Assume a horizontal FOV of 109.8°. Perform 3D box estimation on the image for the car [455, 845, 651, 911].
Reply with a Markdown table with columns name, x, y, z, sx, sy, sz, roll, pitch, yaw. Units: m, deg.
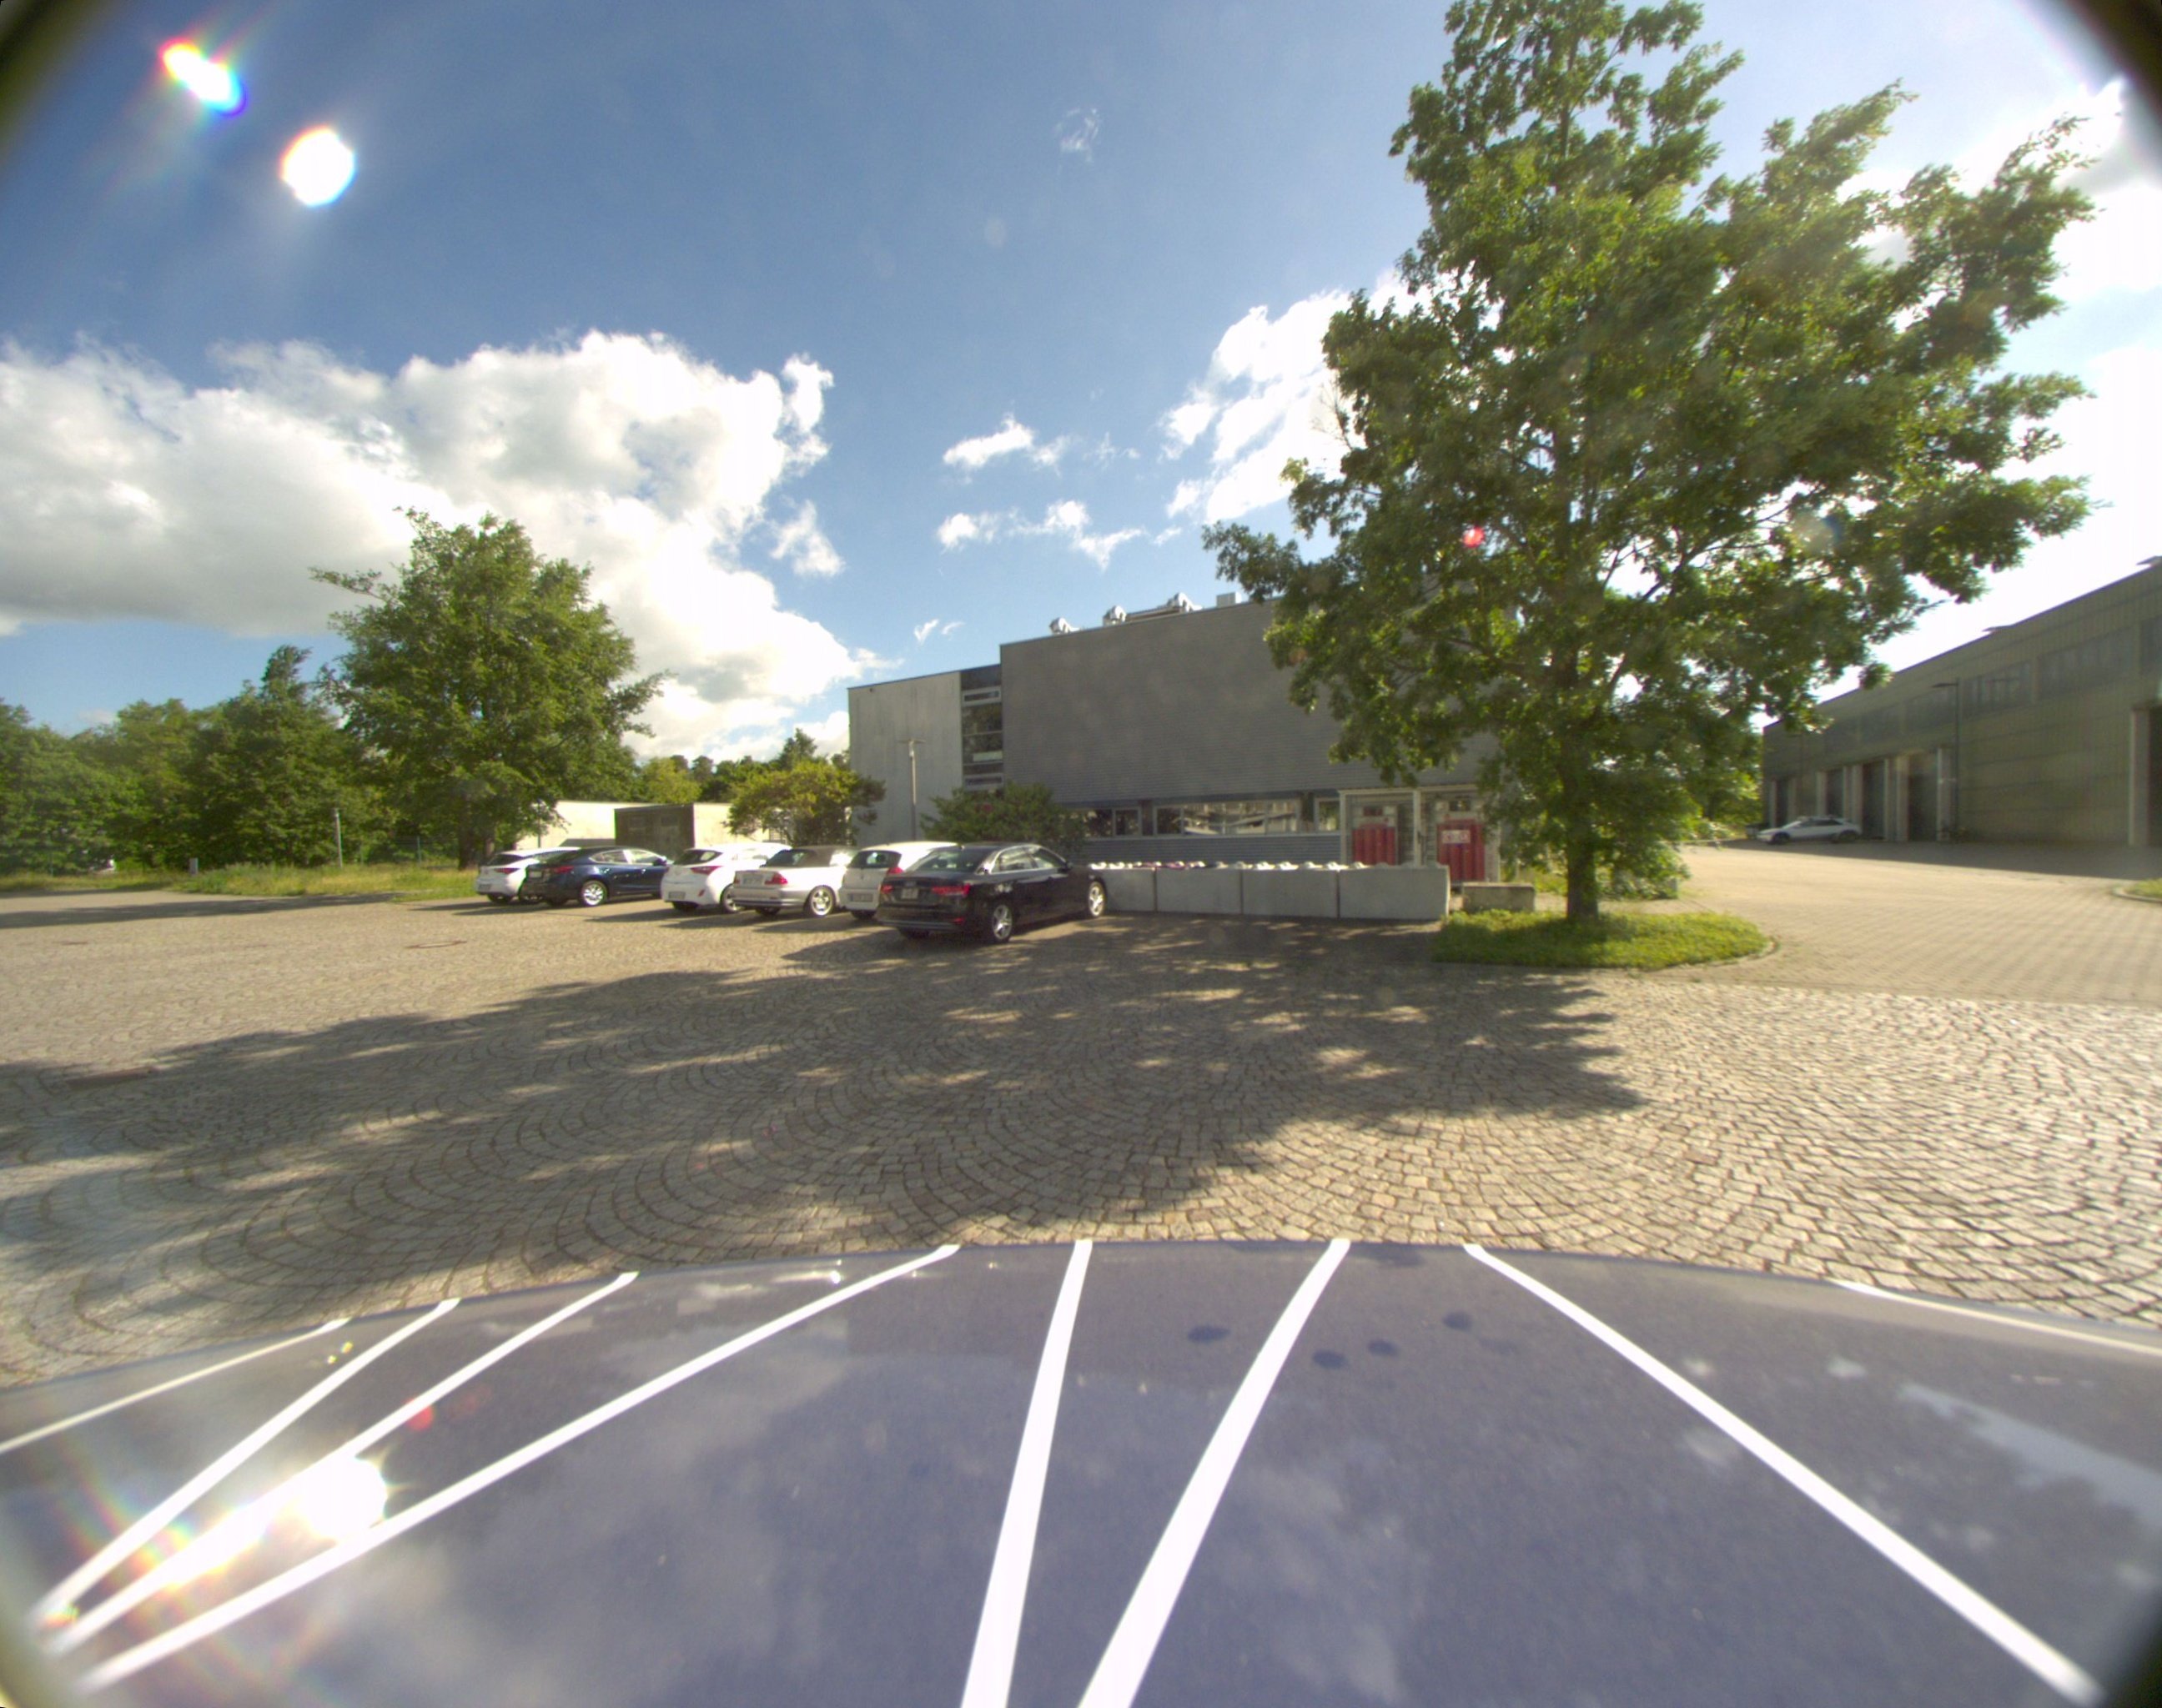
| name | x | y | z | sx | sy | sz | roll | pitch | yaw |
| --- | --- | --- | --- | --- | --- | --- | --- | --- | --- |
| car | -14.279 | 0.589 | 20.799 | 1.791 | 1.428 | 3.931 | 0 | 3 | 31 |

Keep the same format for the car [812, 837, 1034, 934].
| name | x | y | z | sx | sy | sz | roll | pitch | yaw |
| --- | --- | --- | --- | --- | --- | --- | --- | --- | --- |
| car | -2.899 | 0.491 | 14.851 | 1.686 | 1.452 | 4.158 | 0 | 3 | 35 |

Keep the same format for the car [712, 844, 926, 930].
| name | x | y | z | sx | sy | sz | roll | pitch | yaw |
| --- | --- | --- | --- | --- | --- | --- | --- | --- | --- |
| car | -5.232 | 0.578 | 15.716 | 1.723 | 1.364 | 3.931 | 0 | 3 | 31 |

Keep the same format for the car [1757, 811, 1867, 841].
| name | x | y | z | sx | sy | sz | roll | pitch | yaw |
| --- | --- | --- | --- | --- | --- | --- | --- | --- | --- |
| car | 45.256 | -1.726 | 47.191 | 4.567 | 1.653 | 2.003 | -1 | 2 | 29 |

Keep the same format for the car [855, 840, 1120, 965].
| name | x | y | z | sx | sy | sz | roll | pitch | yaw |
| --- | --- | --- | --- | --- | --- | --- | --- | --- | --- |
| car | -1.218 | 0.608 | 12.306 | 1.752 | 1.415 | 4.741 | -1 | 3 | 29 |

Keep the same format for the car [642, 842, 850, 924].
| name | x | y | z | sx | sy | sz | roll | pitch | yaw |
| --- | --- | --- | --- | --- | --- | --- | --- | --- | --- |
| car | -7.361 | 0.547 | 17.091 | 1.751 | 1.439 | 3.931 | 0 | 3 | 31 |

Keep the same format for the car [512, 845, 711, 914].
| name | x | y | z | sx | sy | sz | roll | pitch | yaw |
| --- | --- | --- | --- | --- | --- | --- | --- | --- | --- |
| car | -11.928 | 0.579 | 19.575 | 1.688 | 1.410 | 3.931 | 0 | 3 | 31 |
